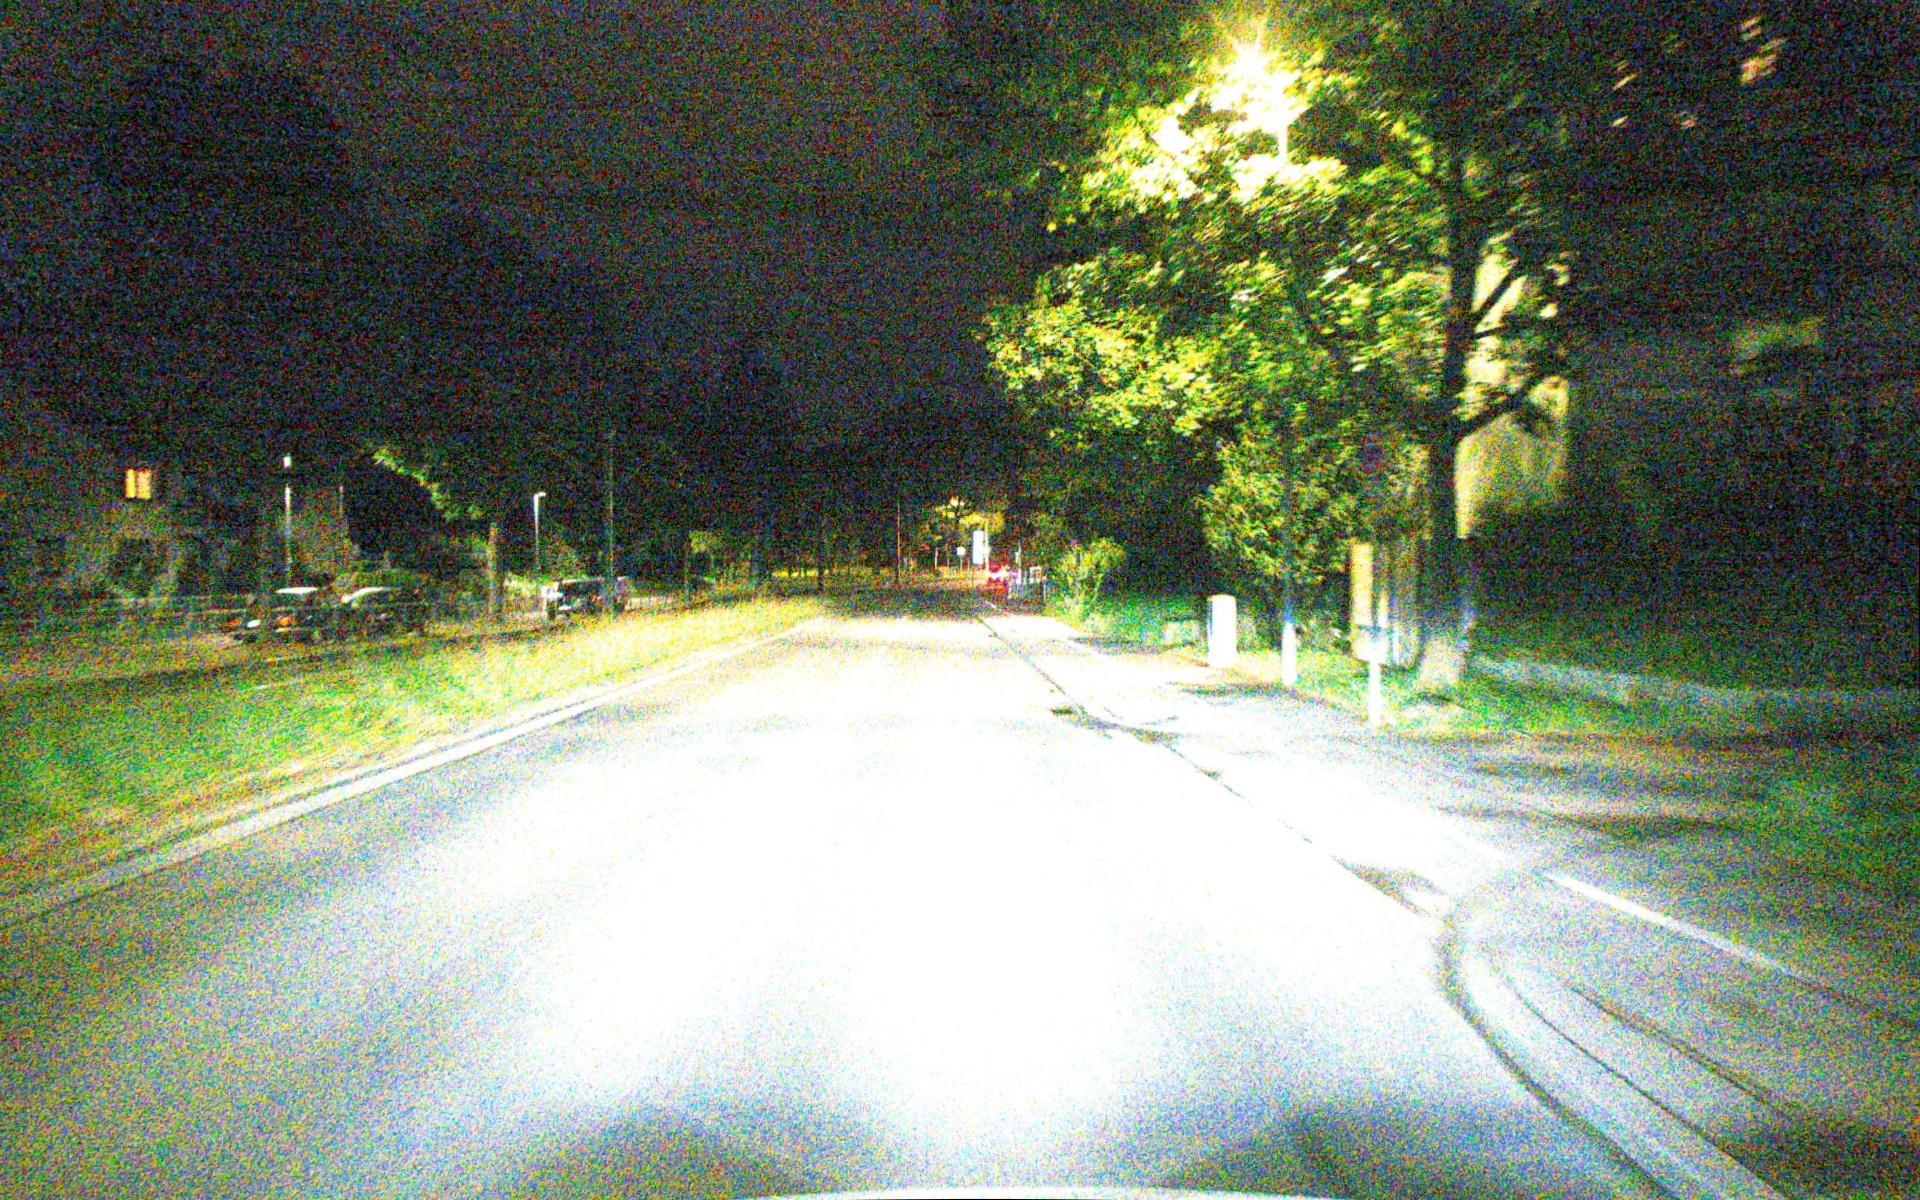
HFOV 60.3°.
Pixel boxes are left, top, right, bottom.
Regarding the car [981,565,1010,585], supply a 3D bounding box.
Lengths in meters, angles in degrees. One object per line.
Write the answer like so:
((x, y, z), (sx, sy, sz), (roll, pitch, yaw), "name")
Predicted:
((3.027, -2.100, 140.205), (2.115, 1.610, 4.016), (0, 0, 7), "car")

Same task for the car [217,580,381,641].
((-15.917, 0.218, 40.194), (1.953, 1.361, 5.430), (-1, 0, -2), "car")

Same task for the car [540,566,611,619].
((-16.463, -0.340, 71.024), (2.050, 2.048, 3.999), (-5, 1, -2), "car")

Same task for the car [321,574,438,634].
((-16.170, 0.072, 46.260), (1.953, 1.556, 3.999), (-1, 1, -2), "car")
